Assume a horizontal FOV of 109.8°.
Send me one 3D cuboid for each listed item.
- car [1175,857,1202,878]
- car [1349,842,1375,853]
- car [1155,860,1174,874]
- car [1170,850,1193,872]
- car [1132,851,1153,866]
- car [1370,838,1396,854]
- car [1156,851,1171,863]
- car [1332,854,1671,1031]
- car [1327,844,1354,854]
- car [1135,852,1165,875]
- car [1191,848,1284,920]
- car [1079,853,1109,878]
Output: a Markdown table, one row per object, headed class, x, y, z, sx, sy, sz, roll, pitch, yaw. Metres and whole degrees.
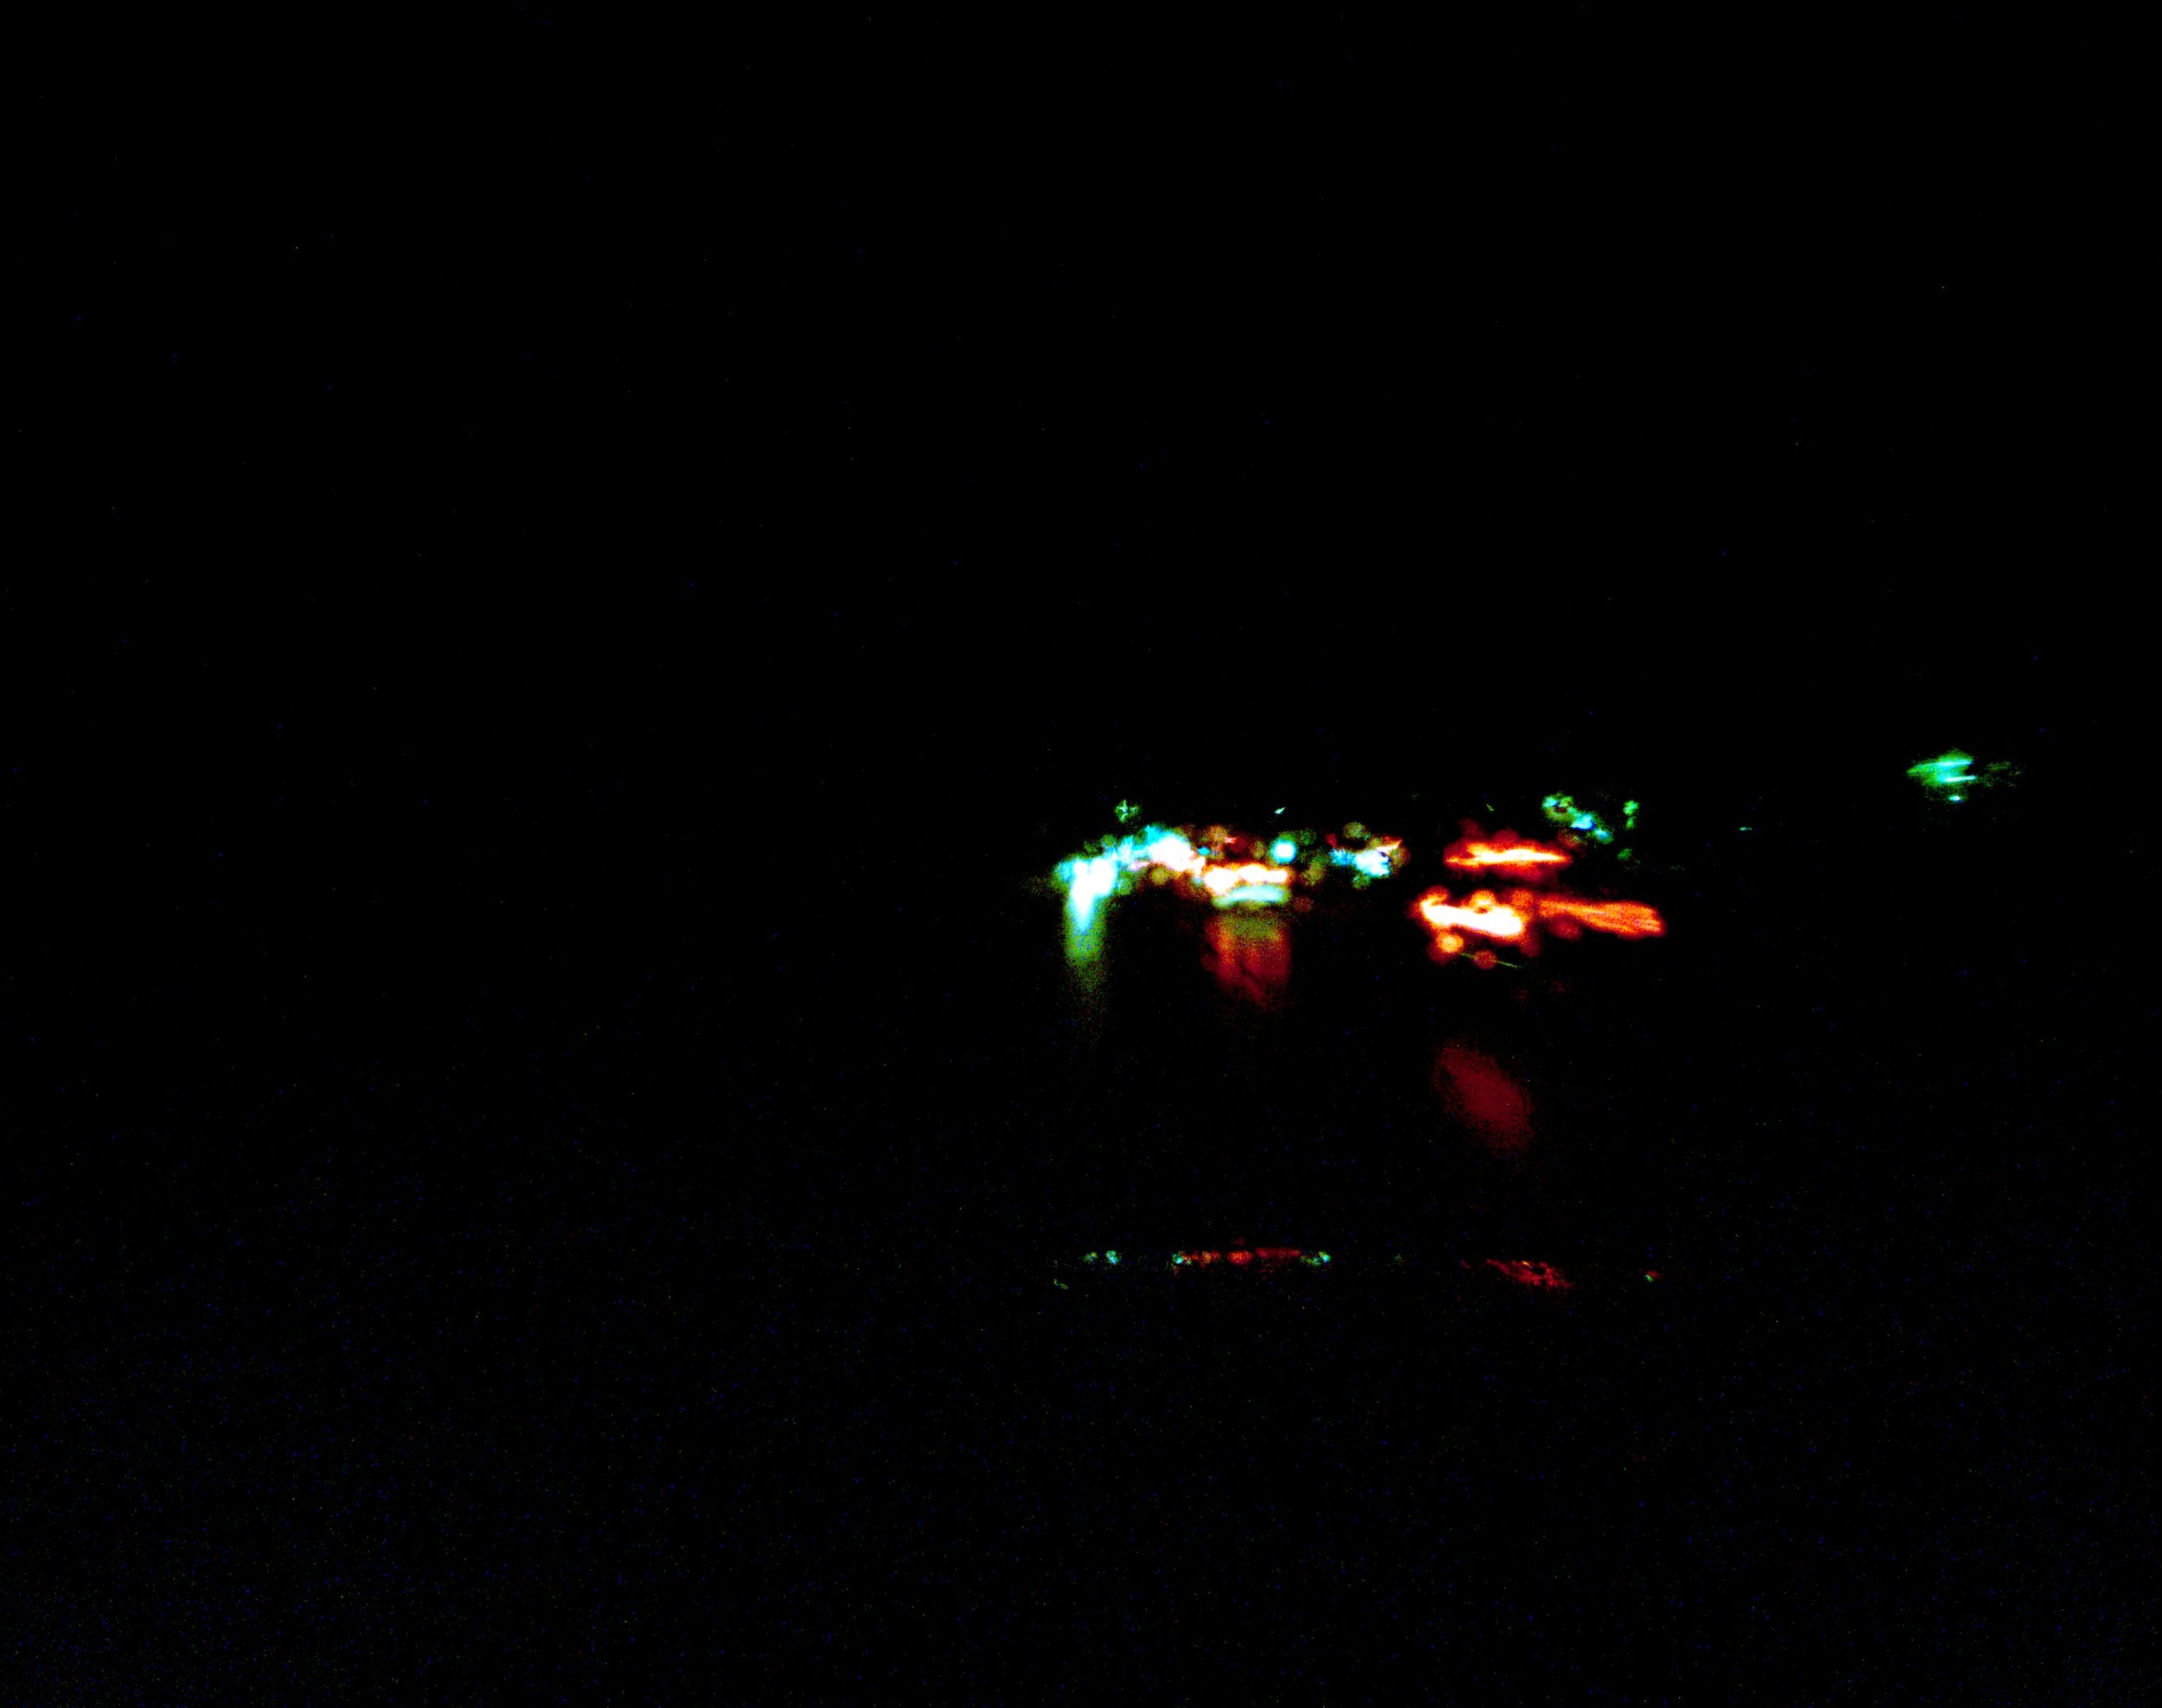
| class | x | y | z | sx | sy | sz | roll | pitch | yaw |
| --- | --- | --- | --- | --- | --- | --- | --- | --- | --- |
| car | 8.133 | 0.994 | 57.706 | 1.807 | 1.375 | 4.774 | -2 | 0 | 6 |
| car | 45.570 | -1.005 | 123.316 | 1.852 | 1.683 | 4.445 | -2 | 0 | -10 |
| car | 10.165 | 1.508 | 92.184 | 2.186 | 1.549 | 5.206 | -1 | 0 | 7 |
| car | 9.360 | 0.626 | 70.907 | 1.997 | 1.854 | 5.322 | -1 | 0 | 7 |
| car | 7.140 | 0.522 | 88.180 | 2.114 | 1.566 | 4.682 | -2 | 0 | 7 |
| car | 45.707 | -1.193 | 115.064 | 1.998 | 2.294 | 6.024 | -2 | 0 | 5 |
| car | 11.953 | 0.420 | 109.750 | 1.970 | 1.520 | 3.690 | -2 | 0 | 7 |
| car | 4.384 | 0.785 | 8.694 | 1.697 | 1.511 | 3.862 | -2 | 0 | 0 |
| car | 43.904 | -0.803 | 128.722 | 2.002 | 1.582 | 3.992 | -2 | 0 | -25 |
| car | 4.987 | 0.672 | 55.427 | 1.928 | 1.606 | 4.085 | -2 | 0 | 2 |
| car | 4.091 | 0.720 | 20.514 | 1.658 | 1.673 | 4.520 | -2 | 0 | 2 |
| car | 0.991 | 0.815 | 55.422 | 1.878 | 1.579 | 4.889 | -2 | 1 | 3 |
